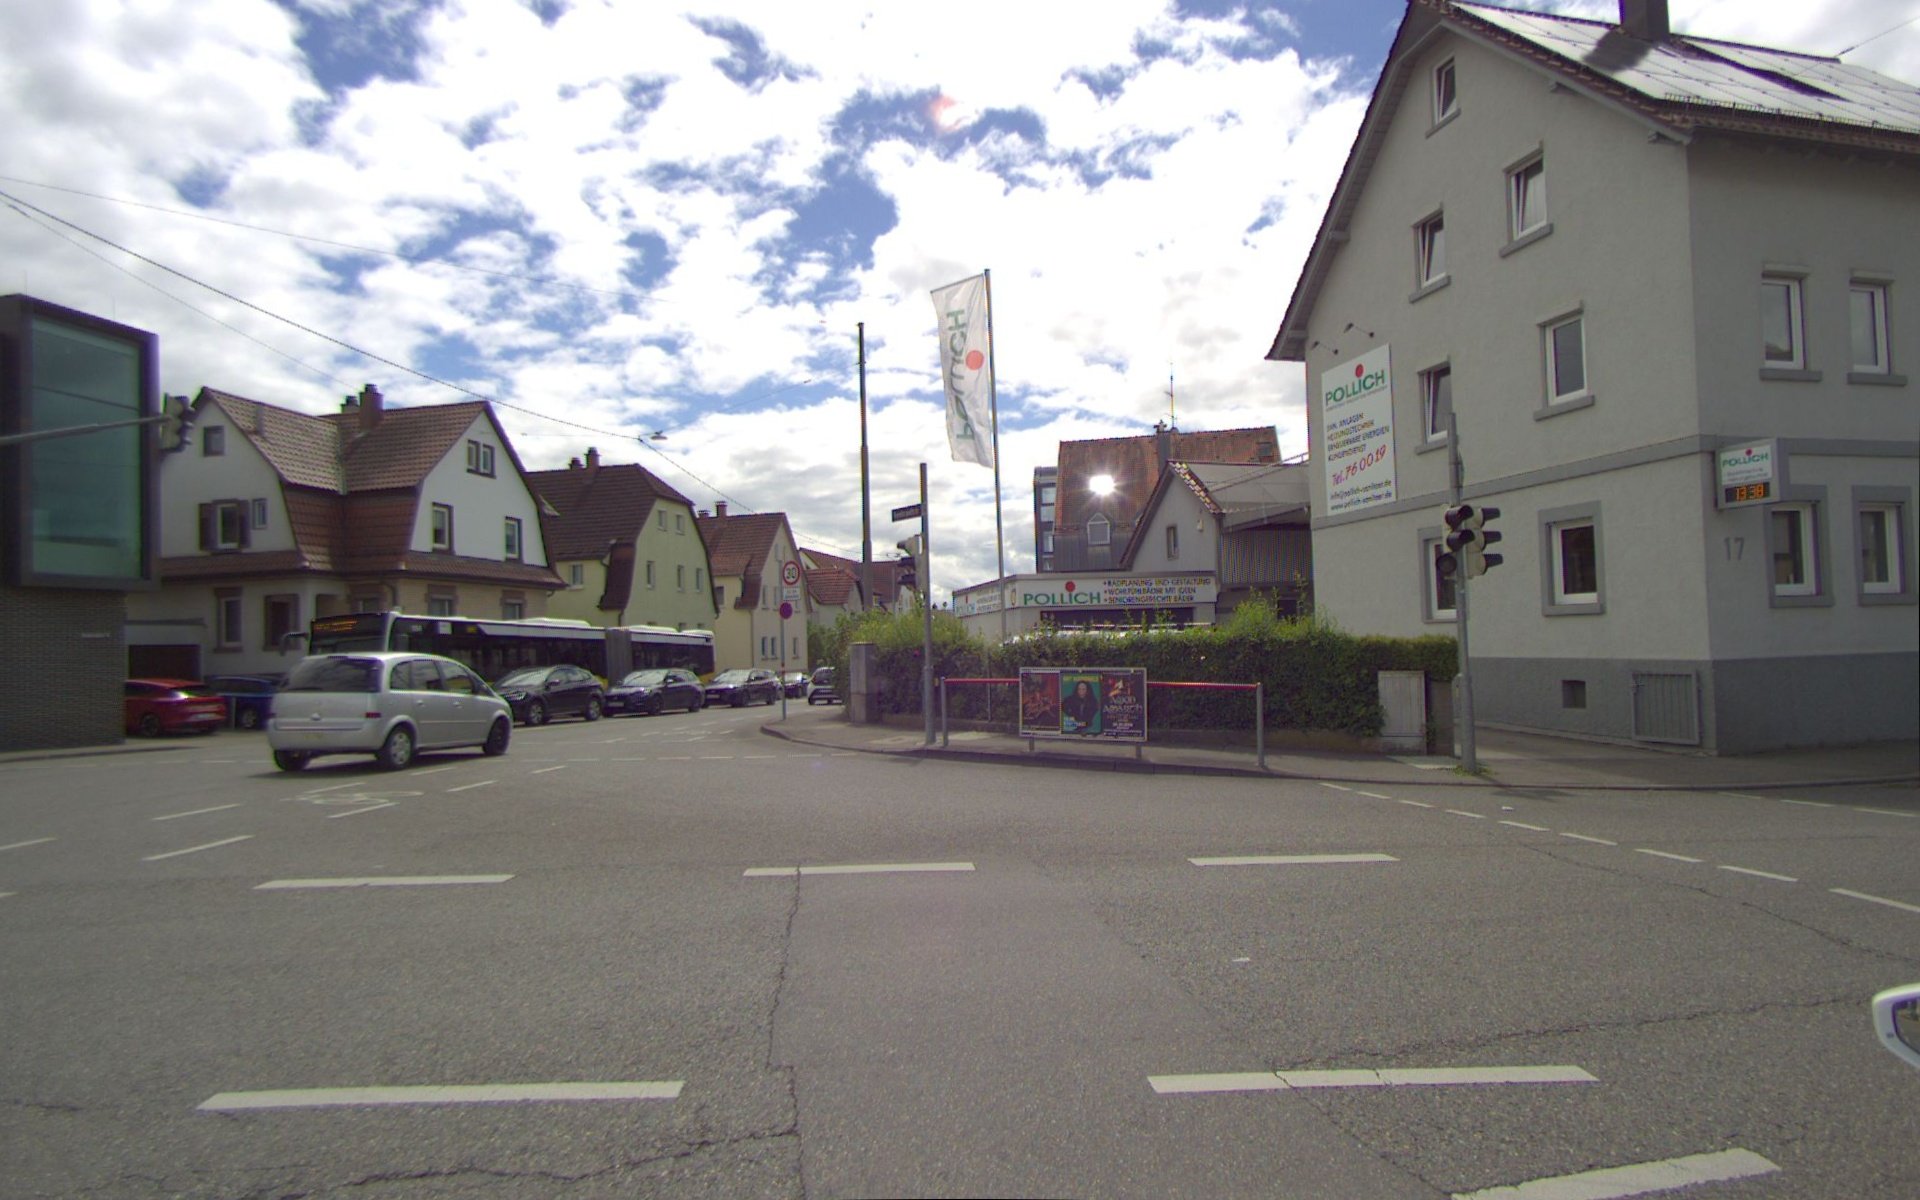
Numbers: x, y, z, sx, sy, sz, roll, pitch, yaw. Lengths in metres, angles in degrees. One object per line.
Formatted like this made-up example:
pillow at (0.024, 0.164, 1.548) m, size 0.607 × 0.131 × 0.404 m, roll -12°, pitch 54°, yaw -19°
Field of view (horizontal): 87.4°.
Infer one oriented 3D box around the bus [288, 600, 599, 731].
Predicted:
bus at (-13.991, 1.813, 28.533) m, size 2.730 × 3.100 × 9.199 m, roll -1°, pitch -3°, yaw 11°

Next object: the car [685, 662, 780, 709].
car at (-8.552, 3.205, 38.082) m, size 1.960 × 1.661 × 4.003 m, roll -1°, pitch -3°, yaw 13°

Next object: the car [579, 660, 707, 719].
car at (-9.710, 2.718, 31.141) m, size 1.960 × 1.661 × 4.187 m, roll -1°, pitch -3°, yaw 13°

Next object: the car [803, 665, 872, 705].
car at (-4.884, 3.390, 40.410) m, size 1.709 × 1.479 × 3.535 m, roll -1°, pitch -3°, yaw 11°

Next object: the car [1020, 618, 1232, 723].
car at (3.433, 1.449, 21.179) m, size 3.931 × 2.040 × 1.996 m, roll 0°, pitch -3°, yaw -13°

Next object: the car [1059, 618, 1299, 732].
car at (4.056, 1.373, 18.907) m, size 3.932 × 1.973 × 1.996 m, roll 0°, pitch -3°, yaw -14°

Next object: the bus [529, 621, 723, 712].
bus at (-12.082, 2.430, 37.588) m, size 2.730 × 2.952 × 9.199 m, roll -1°, pitch -3°, yaw 11°

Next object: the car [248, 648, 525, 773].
car at (-8.326, 1.581, 15.082) m, size 1.740 × 1.595 × 4.004 m, roll -1°, pitch -4°, yaw 2°

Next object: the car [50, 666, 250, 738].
car at (-21.751, 2.704, 27.061) m, size 3.919 × 1.661 × 2.002 m, roll 2°, pitch -3°, yaw 9°

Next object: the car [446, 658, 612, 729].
car at (-11.038, 2.359, 26.045) m, size 1.960 × 1.661 × 4.003 m, roll -1°, pitch -3°, yaw 13°

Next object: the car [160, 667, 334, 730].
car at (-21.229, 2.927, 29.997) m, size 3.919 × 1.705 × 2.002 m, roll -2°, pitch -3°, yaw 9°
